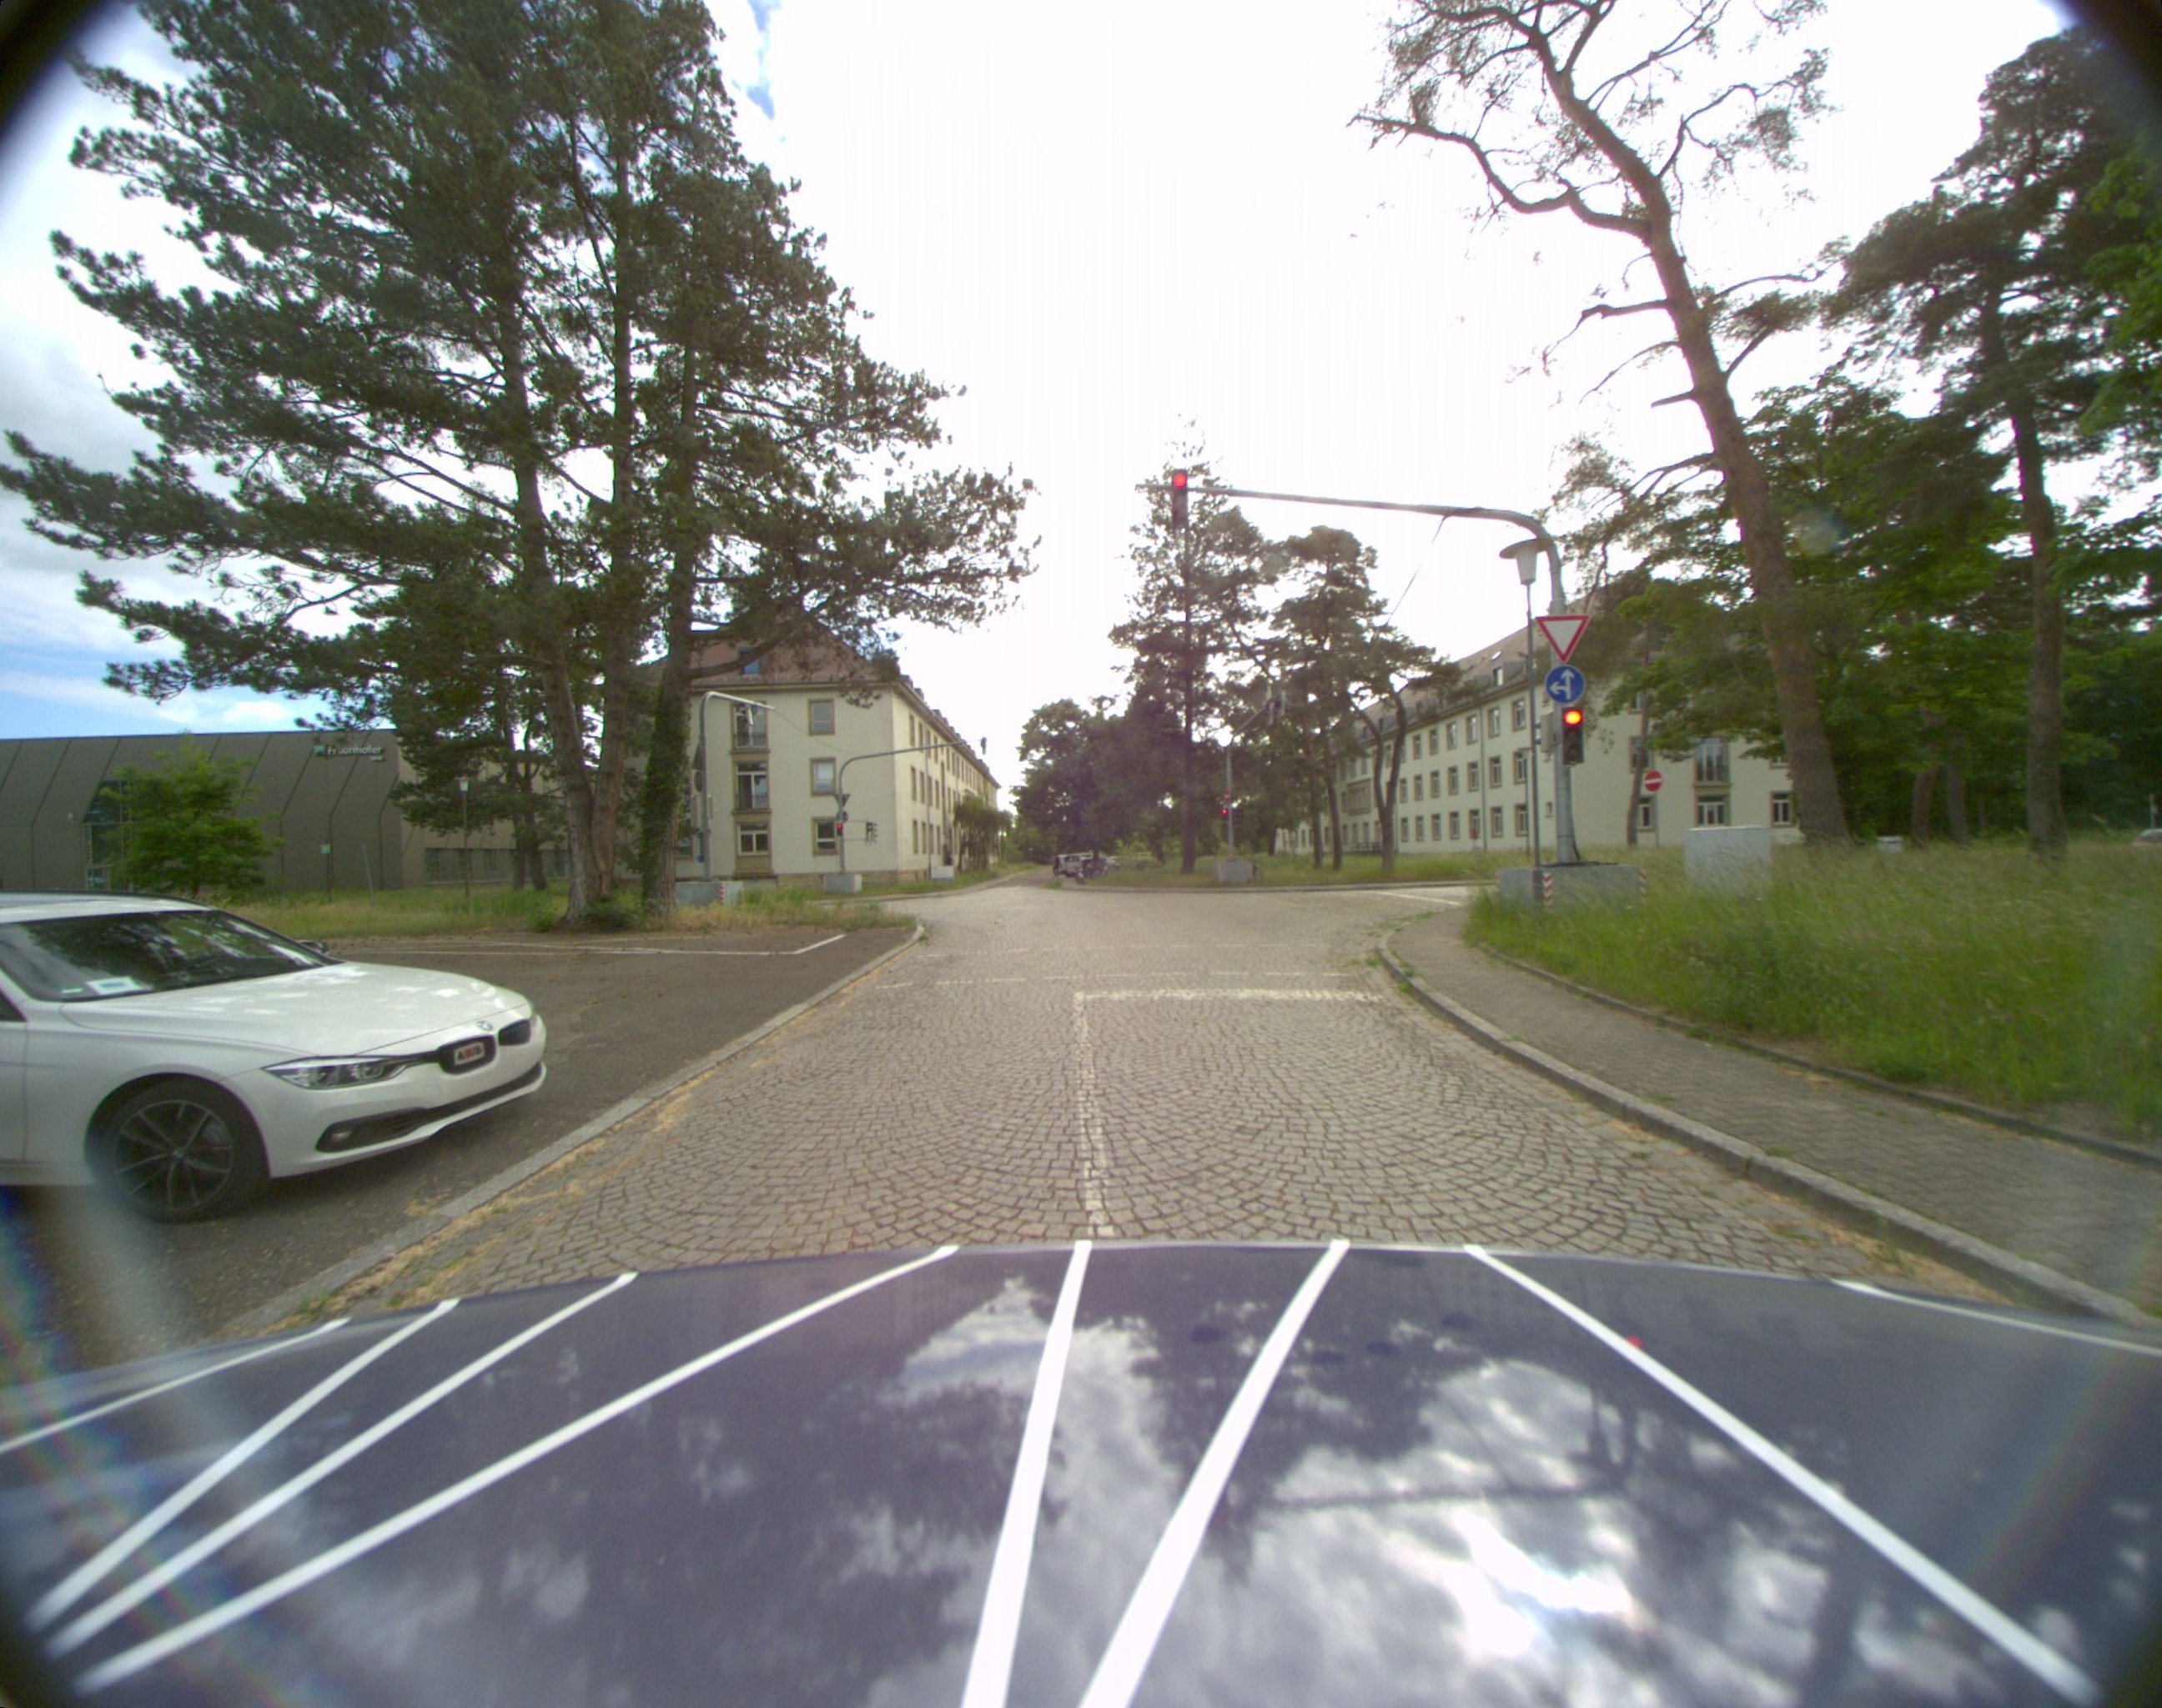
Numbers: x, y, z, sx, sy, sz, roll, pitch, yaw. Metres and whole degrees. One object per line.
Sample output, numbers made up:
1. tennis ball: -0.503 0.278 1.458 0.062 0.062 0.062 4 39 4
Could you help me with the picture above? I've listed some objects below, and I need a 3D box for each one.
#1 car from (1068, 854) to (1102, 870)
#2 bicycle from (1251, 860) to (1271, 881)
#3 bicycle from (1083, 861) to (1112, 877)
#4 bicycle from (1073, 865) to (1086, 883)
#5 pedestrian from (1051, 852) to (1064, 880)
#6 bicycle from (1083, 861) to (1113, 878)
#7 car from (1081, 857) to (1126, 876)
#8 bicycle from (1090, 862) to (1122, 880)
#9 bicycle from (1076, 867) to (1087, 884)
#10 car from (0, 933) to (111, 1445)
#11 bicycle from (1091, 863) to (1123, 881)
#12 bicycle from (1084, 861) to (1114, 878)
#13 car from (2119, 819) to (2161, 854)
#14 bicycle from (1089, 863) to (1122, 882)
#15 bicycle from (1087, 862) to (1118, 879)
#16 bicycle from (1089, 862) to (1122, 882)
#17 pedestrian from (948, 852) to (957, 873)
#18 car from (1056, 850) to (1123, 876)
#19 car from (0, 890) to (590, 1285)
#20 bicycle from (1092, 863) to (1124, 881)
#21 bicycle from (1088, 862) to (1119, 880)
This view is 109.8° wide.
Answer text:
1. car: 0.385 0.824 77.942 3.440 1.440 1.913 -2 0 -2
2. bicycle: 7.922 0.738 33.493 0.294 0.911 1.052 -2 0 -22
3. bicycle: 1.164 1.046 52.576 1.951 1.058 0.562 -2 0 -3
4. bicycle: -0.076 1.176 44.362 0.459 0.968 1.663 -2 0 8
5. pedestrian: -1.653 0.828 53.718 0.589 1.926 0.792 -2 1 -26
6. bicycle: 1.167 1.054 51.976 1.951 1.058 0.562 -2 0 -3
7. car: 1.741 0.991 60.784 3.440 1.440 1.913 -2 0 -2
8. bicycle: 1.575 1.095 48.203 1.951 1.058 0.562 -2 0 -3
9. bicycle: 0.037 1.180 42.542 0.459 0.903 1.663 -2 0 3
10. car: -5.474 1.035 1.570 4.252 1.587 1.884 1 0 -4
11. bicycle: 1.593 1.110 47.071 1.951 1.058 0.562 -2 0 -3
12. bicycle: 1.223 1.061 51.300 1.951 1.058 0.562 -2 0 -3
13. car: 58.031 -0.961 40.098 3.996 1.796 1.722 -2 0 2
14. bicycle: 1.474 1.127 45.985 1.899 1.058 0.616 -2 0 -3
15. bicycle: 1.416 1.081 49.322 1.951 1.058 0.562 -2 0 -3
16. bicycle: 1.520 1.095 46.541 1.951 1.104 0.562 -2 0 -3
17. pedestrian: -10.326 0.655 61.232 0.568 1.691 0.532 -2 0 3
18. car: 0.705 0.770 64.402 5.367 1.987 2.289 -2 0 -9
19. car: -5.571 1.037 4.121 4.505 1.556 1.905 1 0 -3
20. bicycle: 1.668 1.099 47.719 1.951 1.058 0.562 -2 0 -3
21. bicycle: 1.448 1.086 48.782 1.951 1.058 0.562 -2 0 -3
